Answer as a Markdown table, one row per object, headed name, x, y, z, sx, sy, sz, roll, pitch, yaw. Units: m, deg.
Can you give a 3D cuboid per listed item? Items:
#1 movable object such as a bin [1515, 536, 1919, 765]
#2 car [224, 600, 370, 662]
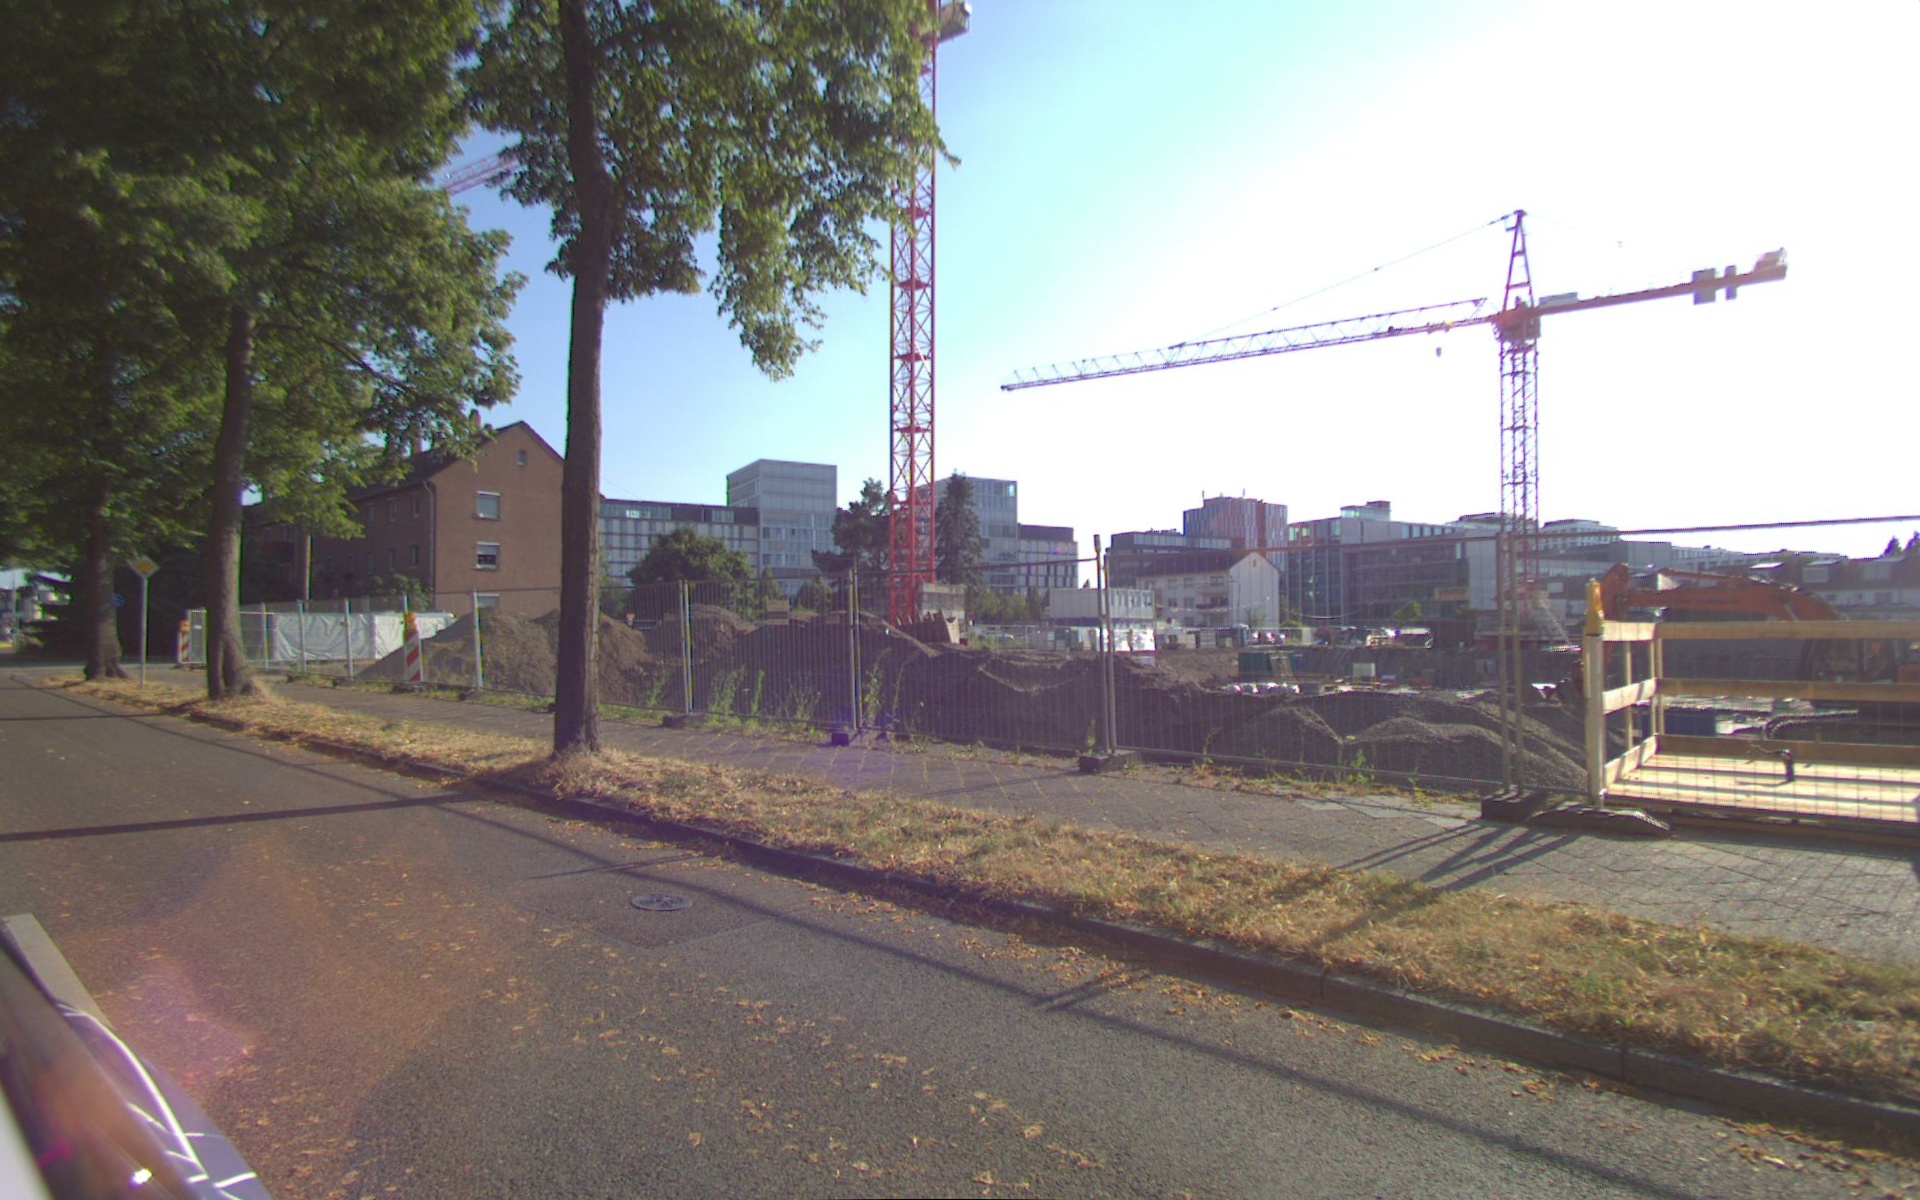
| name | x | y | z | sx | sy | sz | roll | pitch | yaw |
| --- | --- | --- | --- | --- | --- | --- | --- | --- | --- |
| movable object such as a bin | 20.843 | 1.381 | 26.325 | 2.967 | 5.031 | 11.597 | 3 | -4 | -26 |
| car | -30.333 | 1.502 | 46.406 | 5.241 | 2.487 | 2.172 | 6 | -6 | -40 |
